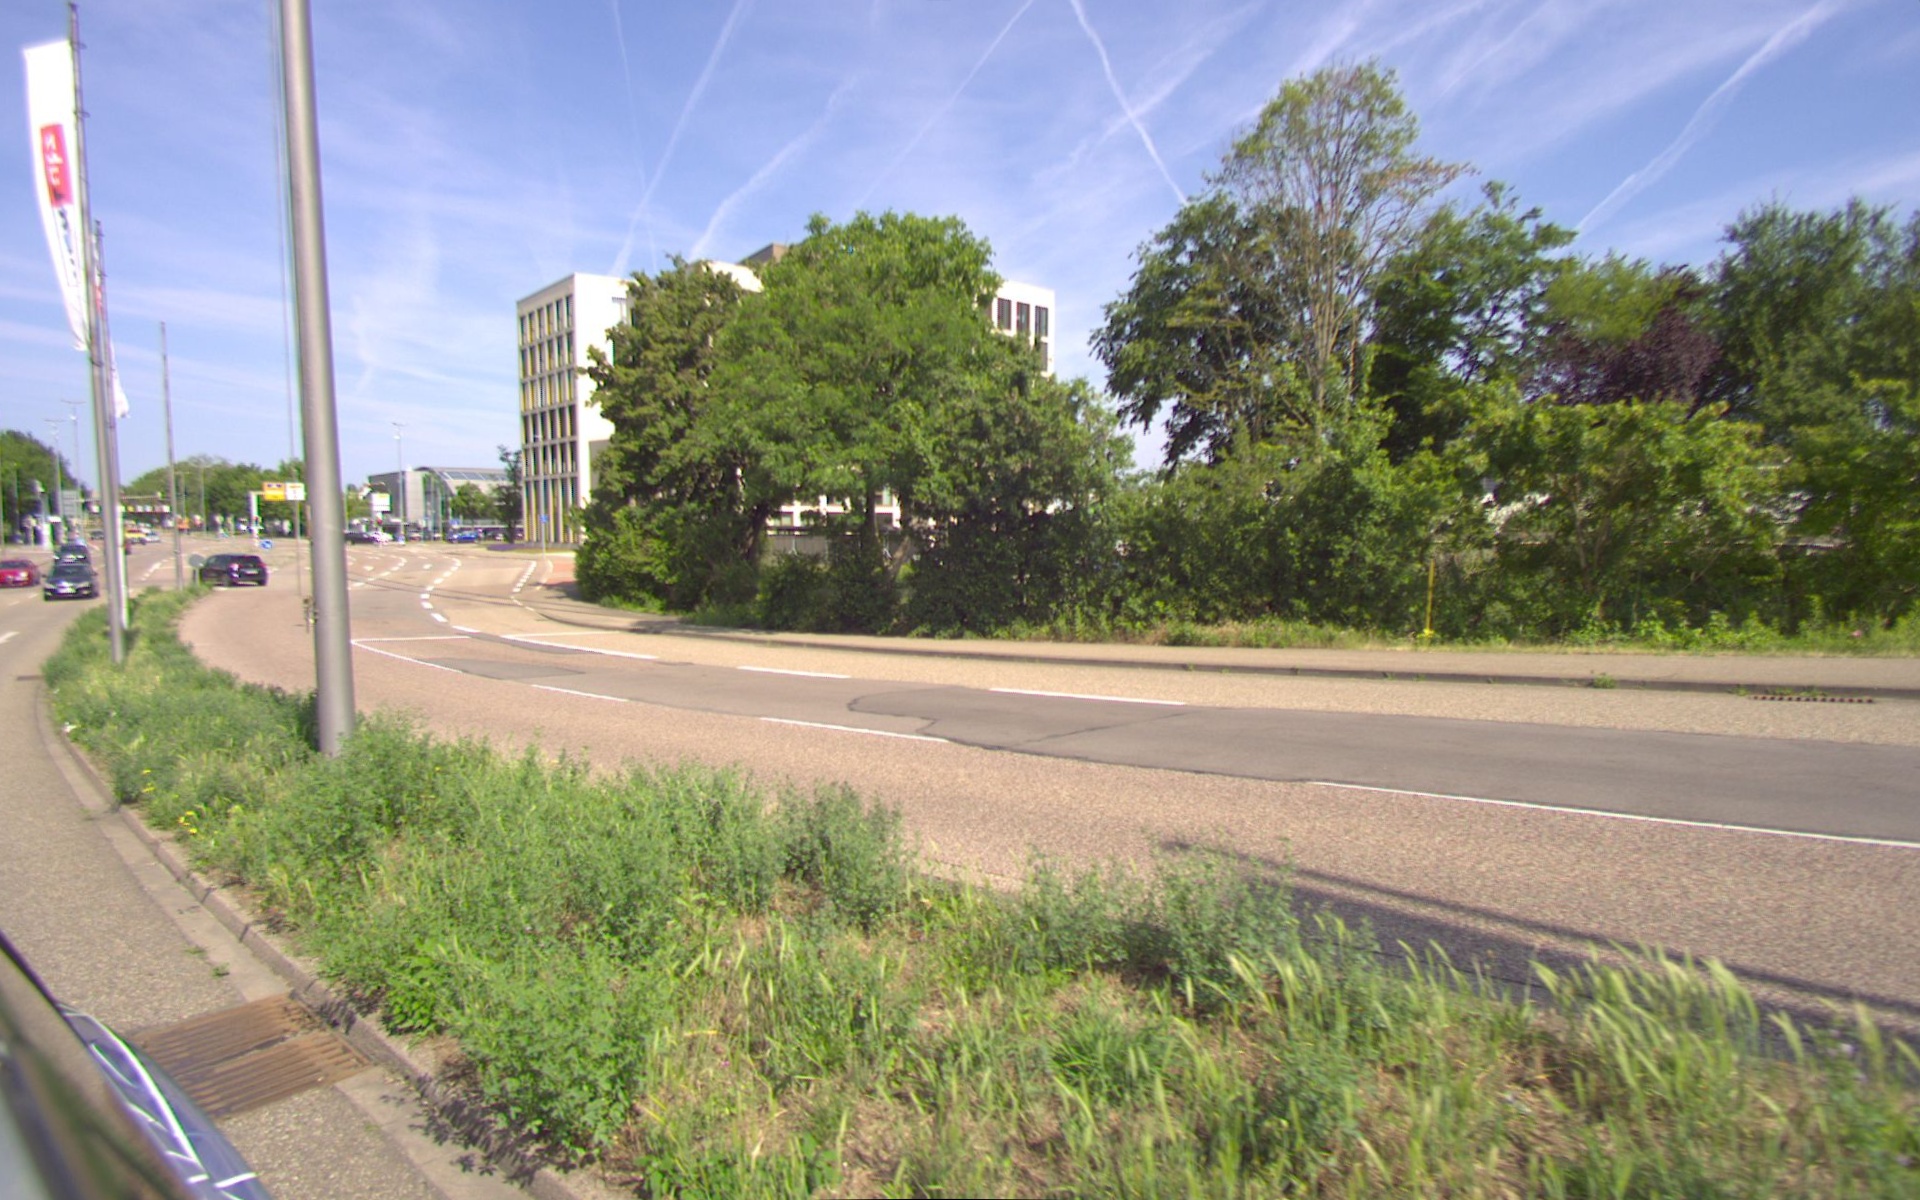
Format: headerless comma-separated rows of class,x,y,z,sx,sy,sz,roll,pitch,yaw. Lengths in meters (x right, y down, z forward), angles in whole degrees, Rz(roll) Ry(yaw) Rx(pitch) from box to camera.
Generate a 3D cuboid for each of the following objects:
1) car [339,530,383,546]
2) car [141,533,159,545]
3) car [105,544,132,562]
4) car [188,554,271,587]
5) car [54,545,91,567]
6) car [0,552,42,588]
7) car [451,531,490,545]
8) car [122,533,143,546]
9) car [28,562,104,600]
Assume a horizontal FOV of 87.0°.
car,-72.398,-7.506,122.441,4.320,1.861,1.818,-1,4,-24
car,-111.661,-8.415,139.511,1.798,1.485,4.008,-3,5,-39
car,-76.945,-4.333,92.599,1.798,1.485,4.008,-3,5,-39
car,-37.165,-1.542,51.454,4.126,1.540,1.844,2,4,29
car,-64.354,-3.201,73.414,1.798,1.485,4.008,-3,5,-39
car,-49.410,-1.592,52.763,1.750,1.670,4.155,-3,5,-36
car,-64.525,-8.192,133.404,4.323,1.861,1.817,-2,5,-35
car,-95.992,-7.017,117.411,1.798,1.485,4.008,-3,5,-39
car,-37.985,-0.854,43.082,1.820,1.428,4.012,-1,4,-33
